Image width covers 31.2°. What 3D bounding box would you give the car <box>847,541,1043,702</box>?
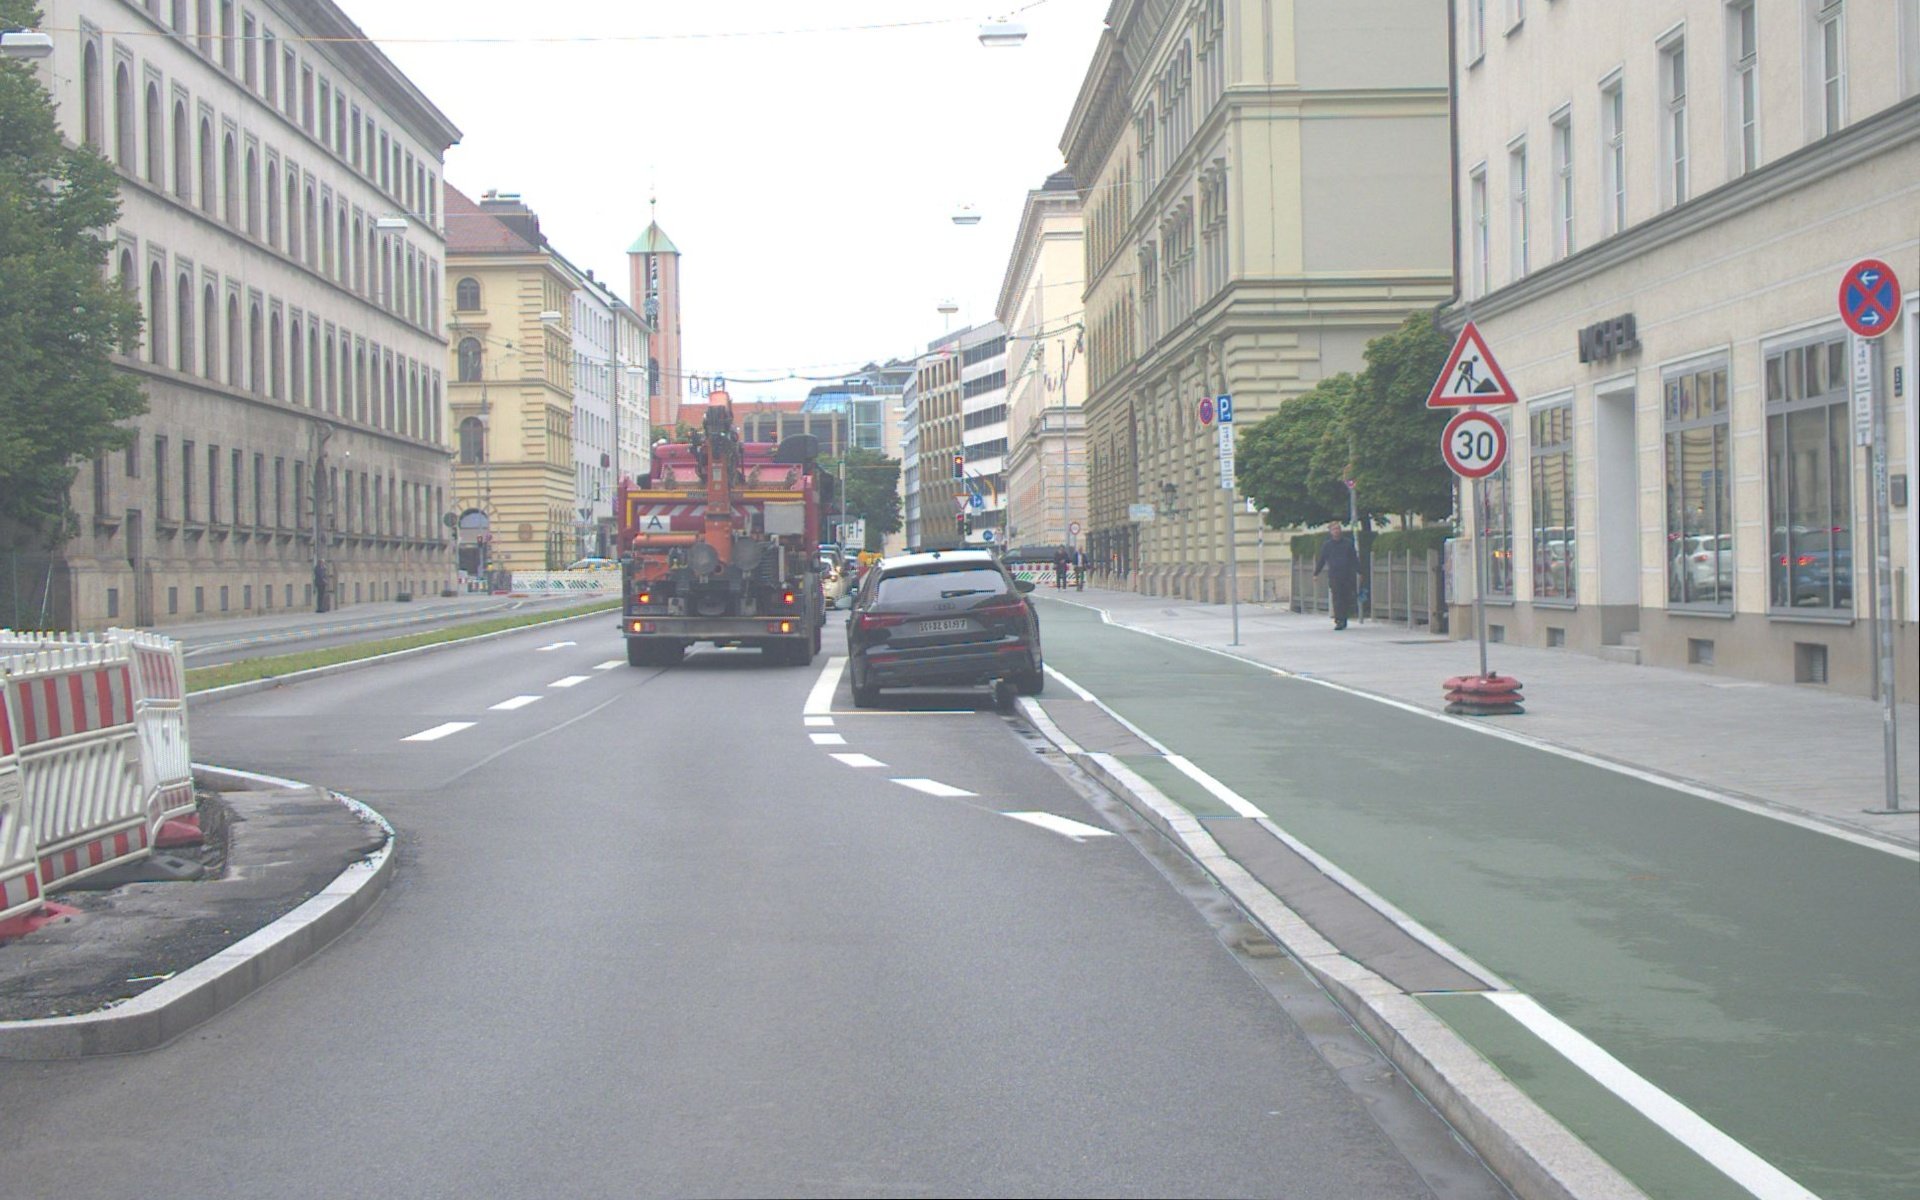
[{"bbox_3d":[-0.218,0.165,34.903,1.801,1.475,4.687,-1,1,-2],"label":"car"}]

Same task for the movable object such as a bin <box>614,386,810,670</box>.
[{"bbox_3d":[-3.288,-0.965,46.734,2.423,3.599,5.852,-1,1,-2],"label":"movable object such as a bin"}]

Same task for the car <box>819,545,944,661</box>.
[{"bbox_3d":[-1.068,0.012,46.861,1.610,1.490,3.425,-1,1,-1],"label":"car"}]

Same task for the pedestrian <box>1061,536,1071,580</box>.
[{"bbox_3d":[4.016,-1.586,129.709,0.337,1.666,0.440,-1,1,0],"label":"pedestrian"}]

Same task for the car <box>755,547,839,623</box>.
[{"bbox_3d":[-3.351,-0.326,71.070,1.610,1.490,3.425,-1,1,-1],"label":"car"}]

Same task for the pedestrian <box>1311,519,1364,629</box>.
[{"bbox_3d":[6.372,-0.441,58.076,0.790,1.830,0.777,-1,1,0],"label":"pedestrian"}]

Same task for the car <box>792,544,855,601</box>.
[{"bbox_3d":[-3.701,-0.770,93.421,1.610,1.490,3.425,-1,1,-1],"label":"car"}]
